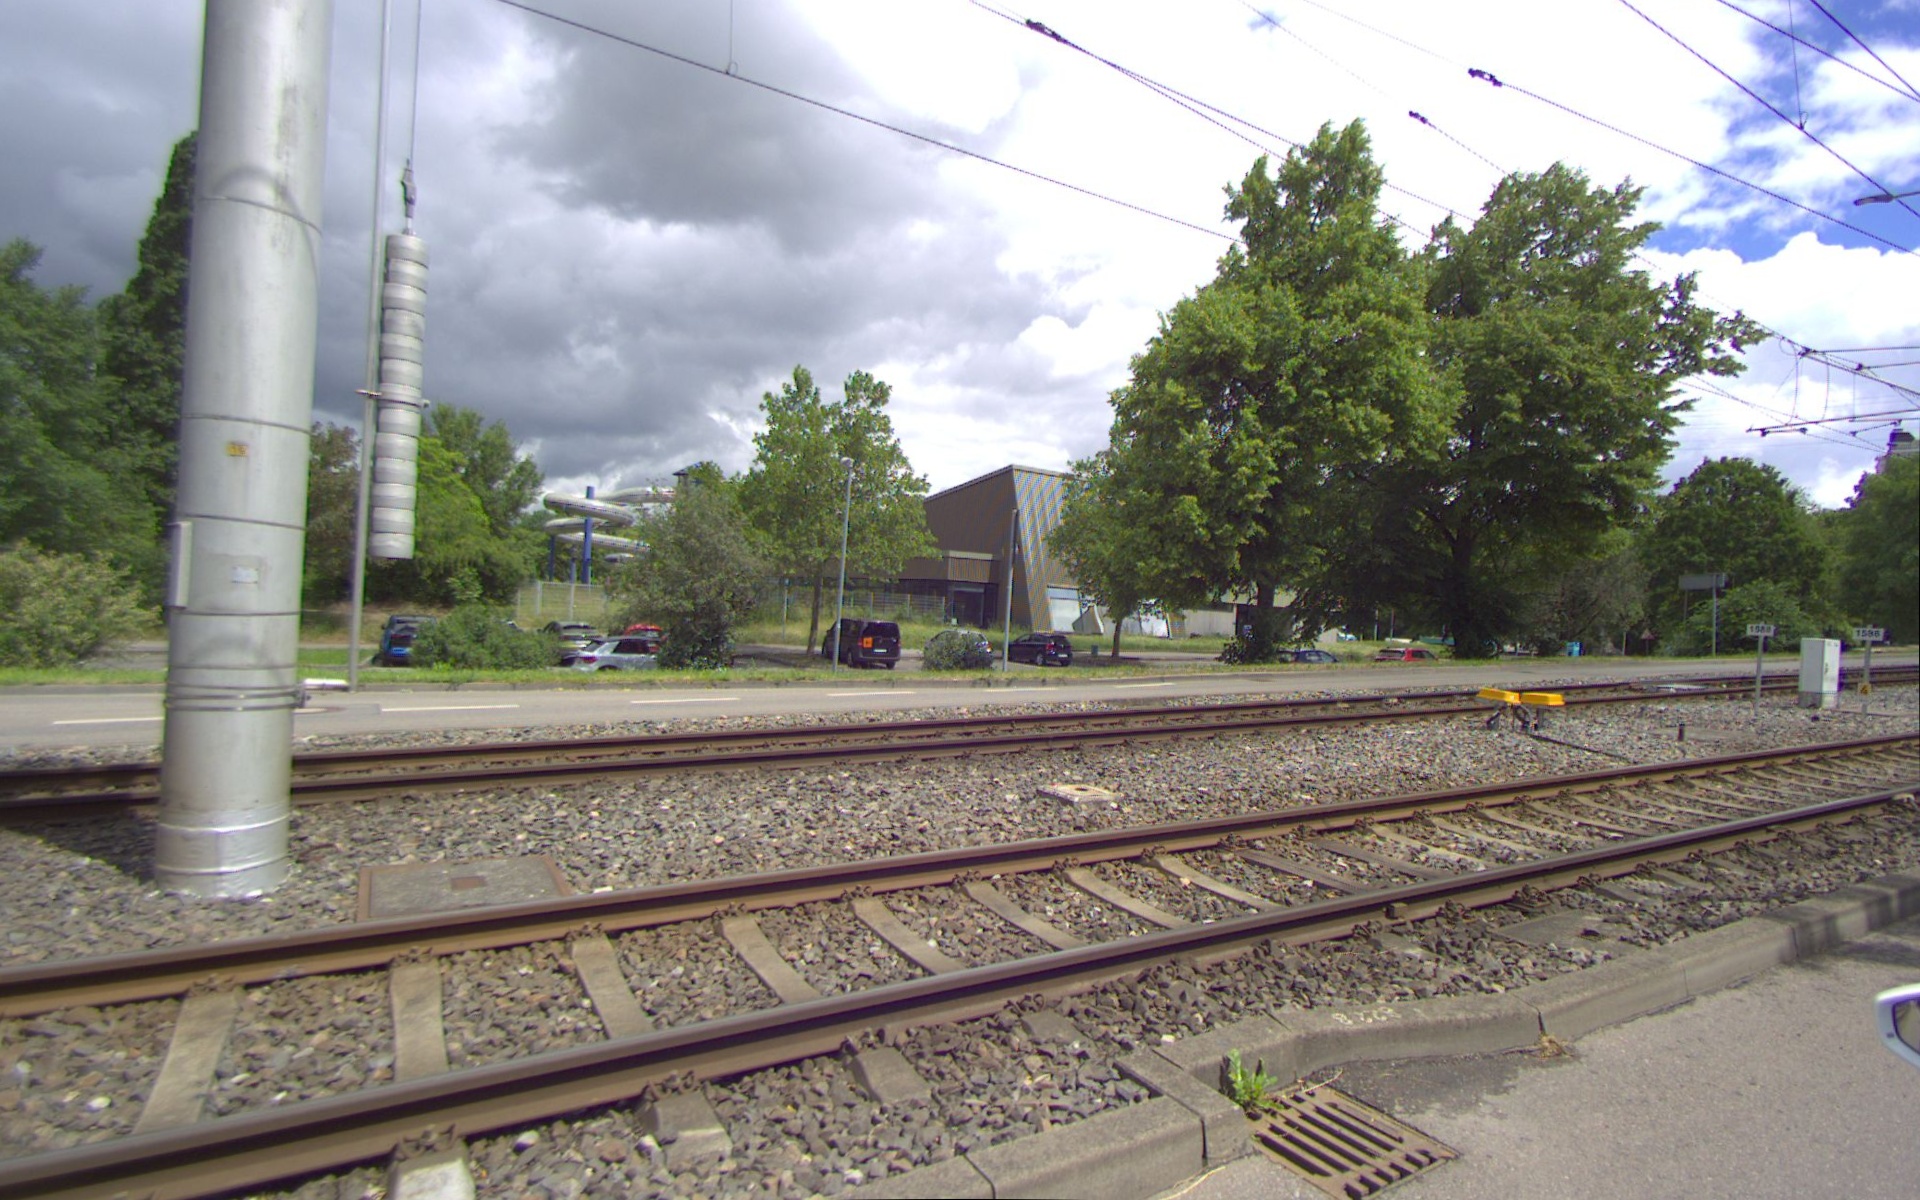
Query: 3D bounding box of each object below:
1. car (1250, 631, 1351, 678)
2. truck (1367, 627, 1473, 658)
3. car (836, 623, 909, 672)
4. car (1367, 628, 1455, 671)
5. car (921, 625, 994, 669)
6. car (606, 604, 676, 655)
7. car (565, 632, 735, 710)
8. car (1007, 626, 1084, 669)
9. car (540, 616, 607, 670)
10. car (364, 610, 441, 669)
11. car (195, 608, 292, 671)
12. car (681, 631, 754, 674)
[{"bbox_3d":[14.099,2.195,41.546,3.953,1.795,1.807,1,0,-30],"label":"car"},{"bbox_3d":[42.462,3.864,93.025,2.586,2.731,9.042,1,-2,-32],"label":"truck"},{"bbox_3d":[-3.551,1.899,40.423,1.923,1.659,3.588,2,1,-22],"label":"car"},{"bbox_3d":[20.253,2.179,45.078,3.957,1.795,1.805,1,0,-33],"label":"car"},{"bbox_3d":[-0.169,2.038,44.350,1.832,1.620,3.978,2,1,-22],"label":"car"},{"bbox_3d":[-11.763,1.042,36.883,1.969,1.601,3.942,1,2,-24],"label":"car"},{"bbox_3d":[-8.345,1.847,27.104,4.024,1.779,1.978,0,2,-32],"label":"car"},{"bbox_3d":[3.887,2.168,46.466,1.833,1.620,3.977,2,1,-23],"label":"car"},{"bbox_3d":[-13.752,1.471,35.626,1.969,1.601,3.942,1,2,-24],"label":"car"},{"bbox_3d":[-18.068,1.222,32.690,1.843,1.601,3.942,1,2,-24],"label":"car"},{"bbox_3d":[-21.733,1.139,30.602,1.819,1.601,3.901,1,2,-27],"label":"car"},{"bbox_3d":[-9.175,1.920,37.815,1.969,1.269,4.070,1,2,-24],"label":"car"}]
